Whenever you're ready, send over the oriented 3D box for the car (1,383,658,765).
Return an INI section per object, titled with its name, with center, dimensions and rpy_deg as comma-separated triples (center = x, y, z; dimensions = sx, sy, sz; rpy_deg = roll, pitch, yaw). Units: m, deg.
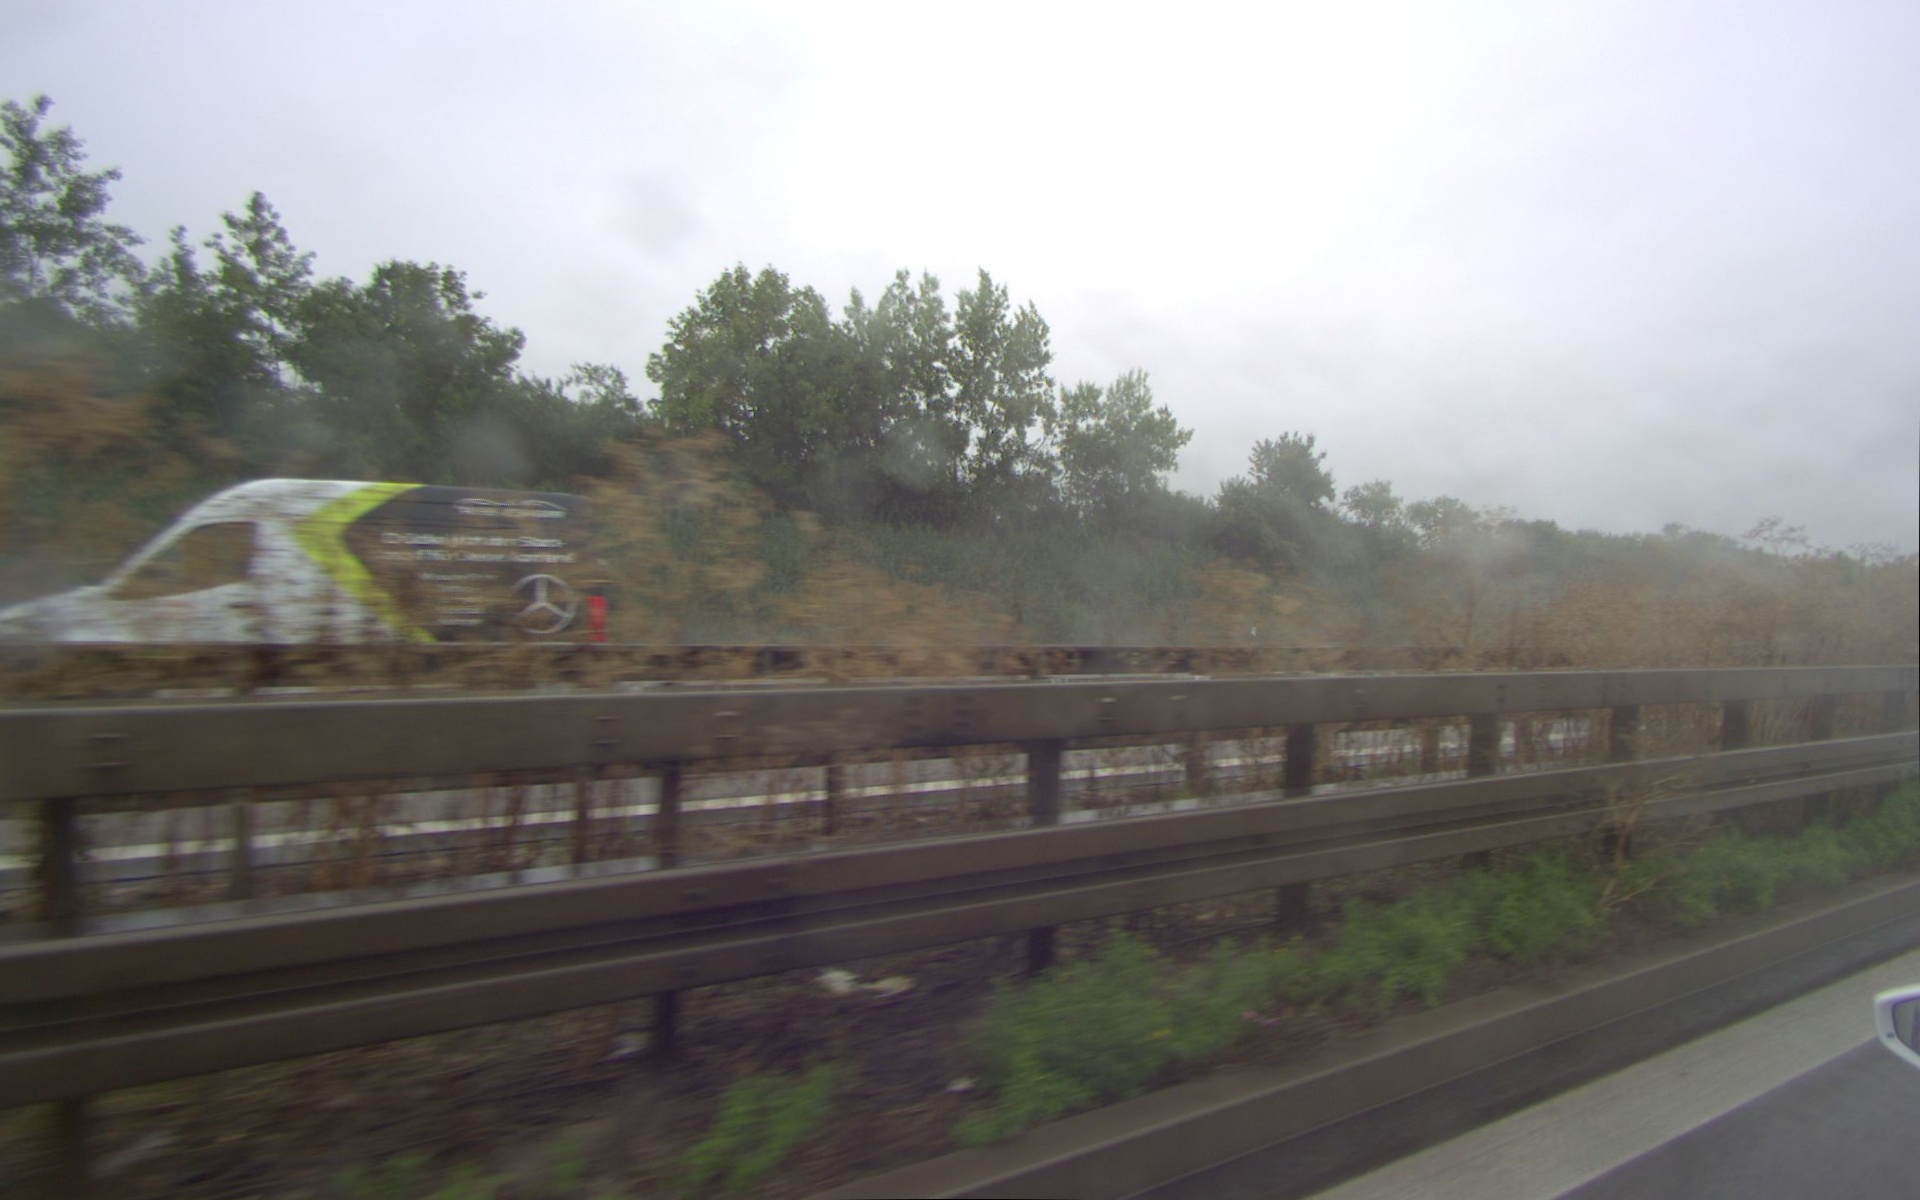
[car]
center = -6.858, -0.167, 11.793
dimensions = 5.988, 3.544, 1.982
rpy_deg = 2, 0, -33
